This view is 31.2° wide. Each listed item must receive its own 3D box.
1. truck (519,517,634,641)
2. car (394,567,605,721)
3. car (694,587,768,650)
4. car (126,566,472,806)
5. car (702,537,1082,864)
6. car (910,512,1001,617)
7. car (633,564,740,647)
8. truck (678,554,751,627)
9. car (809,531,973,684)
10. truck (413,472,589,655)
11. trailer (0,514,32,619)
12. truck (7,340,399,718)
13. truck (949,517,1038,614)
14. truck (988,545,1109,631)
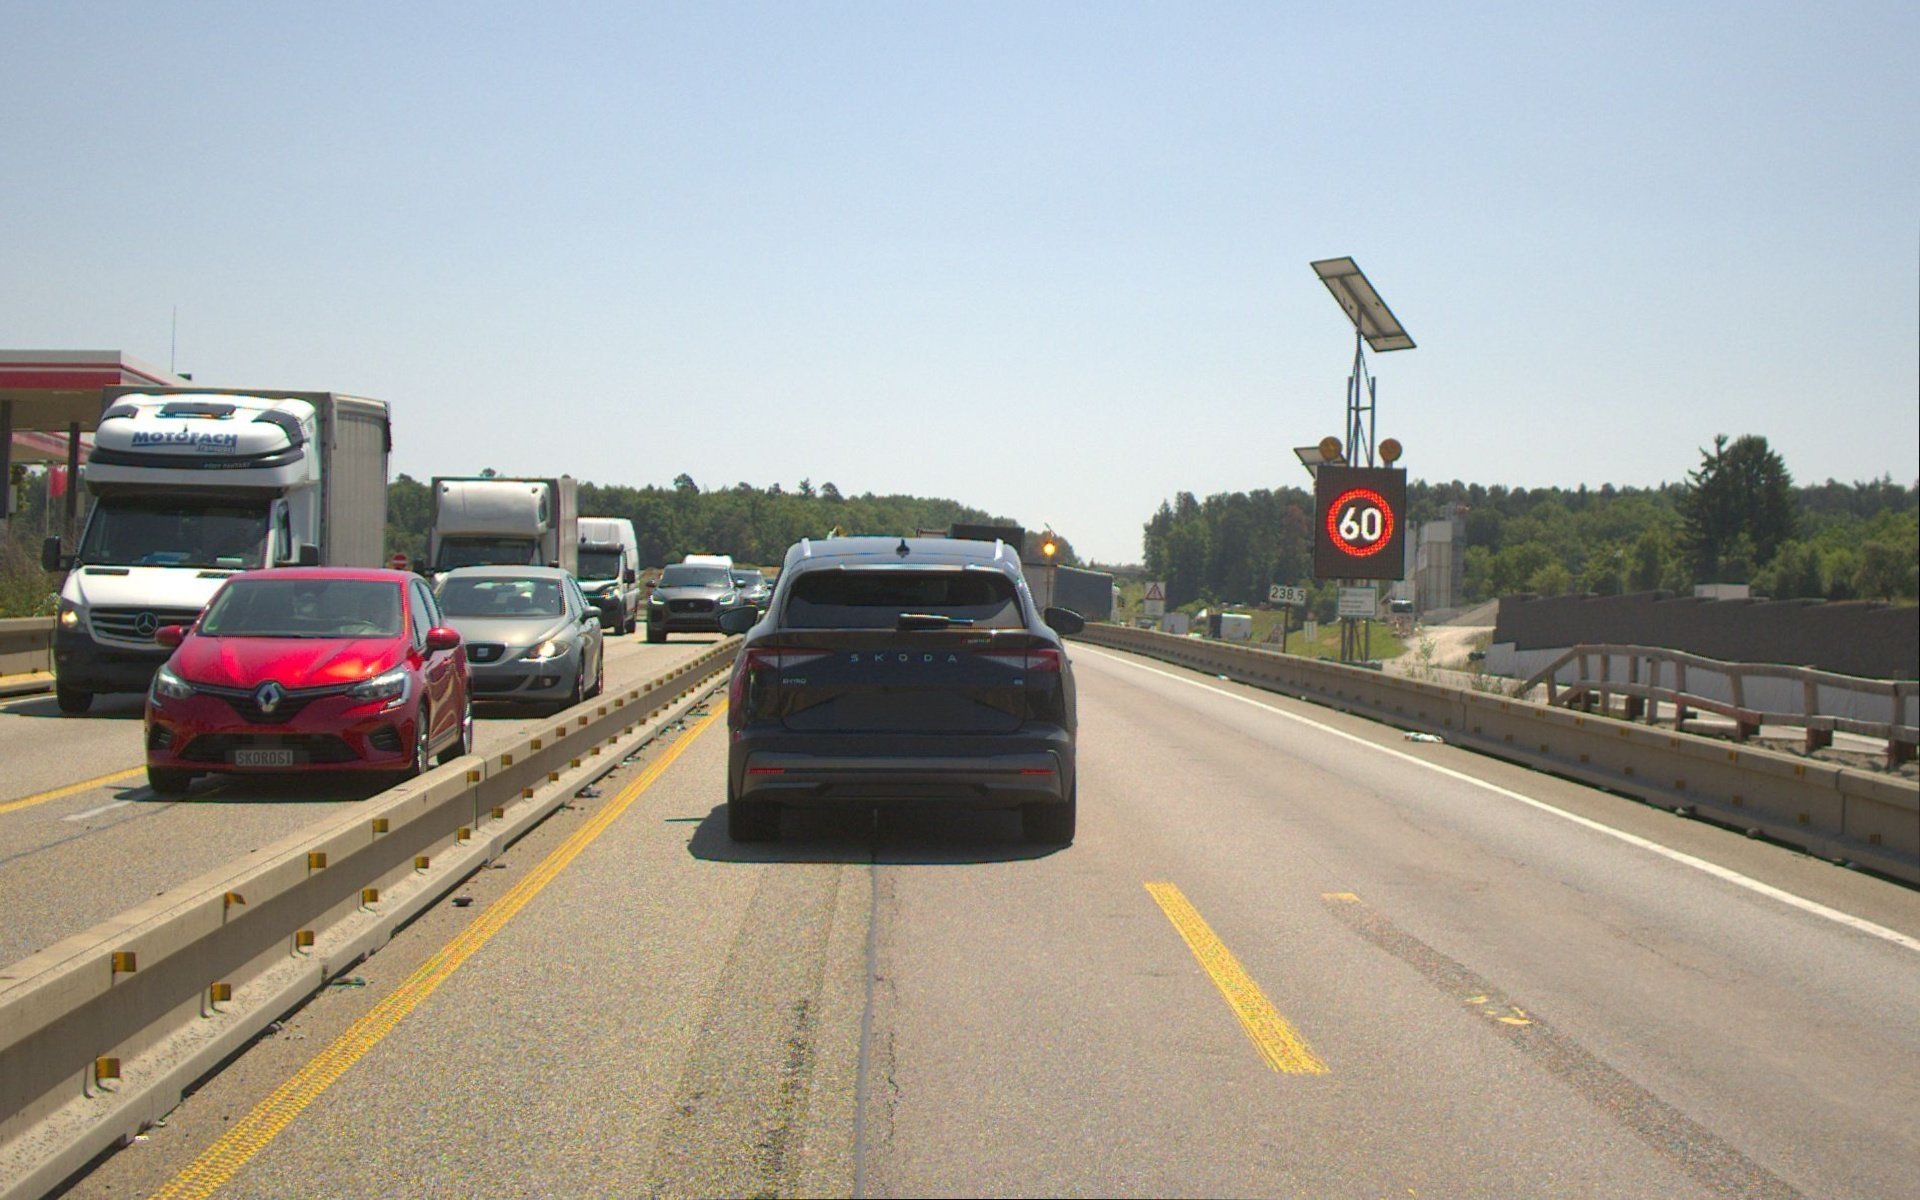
[{"bbox_3d":[-9.024,-0.519,81.353,2.239,2.777,6.493,1,1,-3],"label":"truck"},{"bbox_3d":[-4.568,0.396,34.609,1.681,1.424,4.202,1,1,-2],"label":"car"},{"bbox_3d":[-6.328,0.492,94.692,1.938,1.605,4.001,1,1,-4],"label":"car"},{"bbox_3d":[-4.308,0.505,22.928,1.649,1.429,4.000,1,1,-2],"label":"car"},{"bbox_3d":[-0.353,0.464,18.973,1.842,1.576,4.000,1,1,0],"label":"car"},{"bbox_3d":[-0.151,-1.460,148.060,3.436,4.087,9.196,6,0,1],"label":"car"},{"bbox_3d":[-5.656,0.089,71.632,1.942,1.653,4.745,0,1,-1],"label":"car"},{"bbox_3d":[-9.952,-0.400,140.070,2.480,2.814,8.129,1,0,-1],"label":"truck"},{"bbox_3d":[-0.956,0.102,45.662,1.993,1.838,4.000,3,0,-2],"label":"car"},{"bbox_3d":[-8.663,-0.739,65.662,2.495,3.280,8.118,0,1,-2],"label":"truck"},{"bbox_3d":[-41.408,-1.379,130.961,3.154,4.097,14.143,0,0,26],"label":"trailer"},{"bbox_3d":[-7.520,-0.695,35.145,2.389,3.373,7.715,2,1,-1],"label":"truck"},{"bbox_3d":[1.029,-1.101,108.605,2.673,2.935,5.620,1,1,0],"label":"truck"},{"bbox_3d":[5.219,-0.629,199.903,3.479,4.206,10.364,7,0,20],"label":"truck"}]
